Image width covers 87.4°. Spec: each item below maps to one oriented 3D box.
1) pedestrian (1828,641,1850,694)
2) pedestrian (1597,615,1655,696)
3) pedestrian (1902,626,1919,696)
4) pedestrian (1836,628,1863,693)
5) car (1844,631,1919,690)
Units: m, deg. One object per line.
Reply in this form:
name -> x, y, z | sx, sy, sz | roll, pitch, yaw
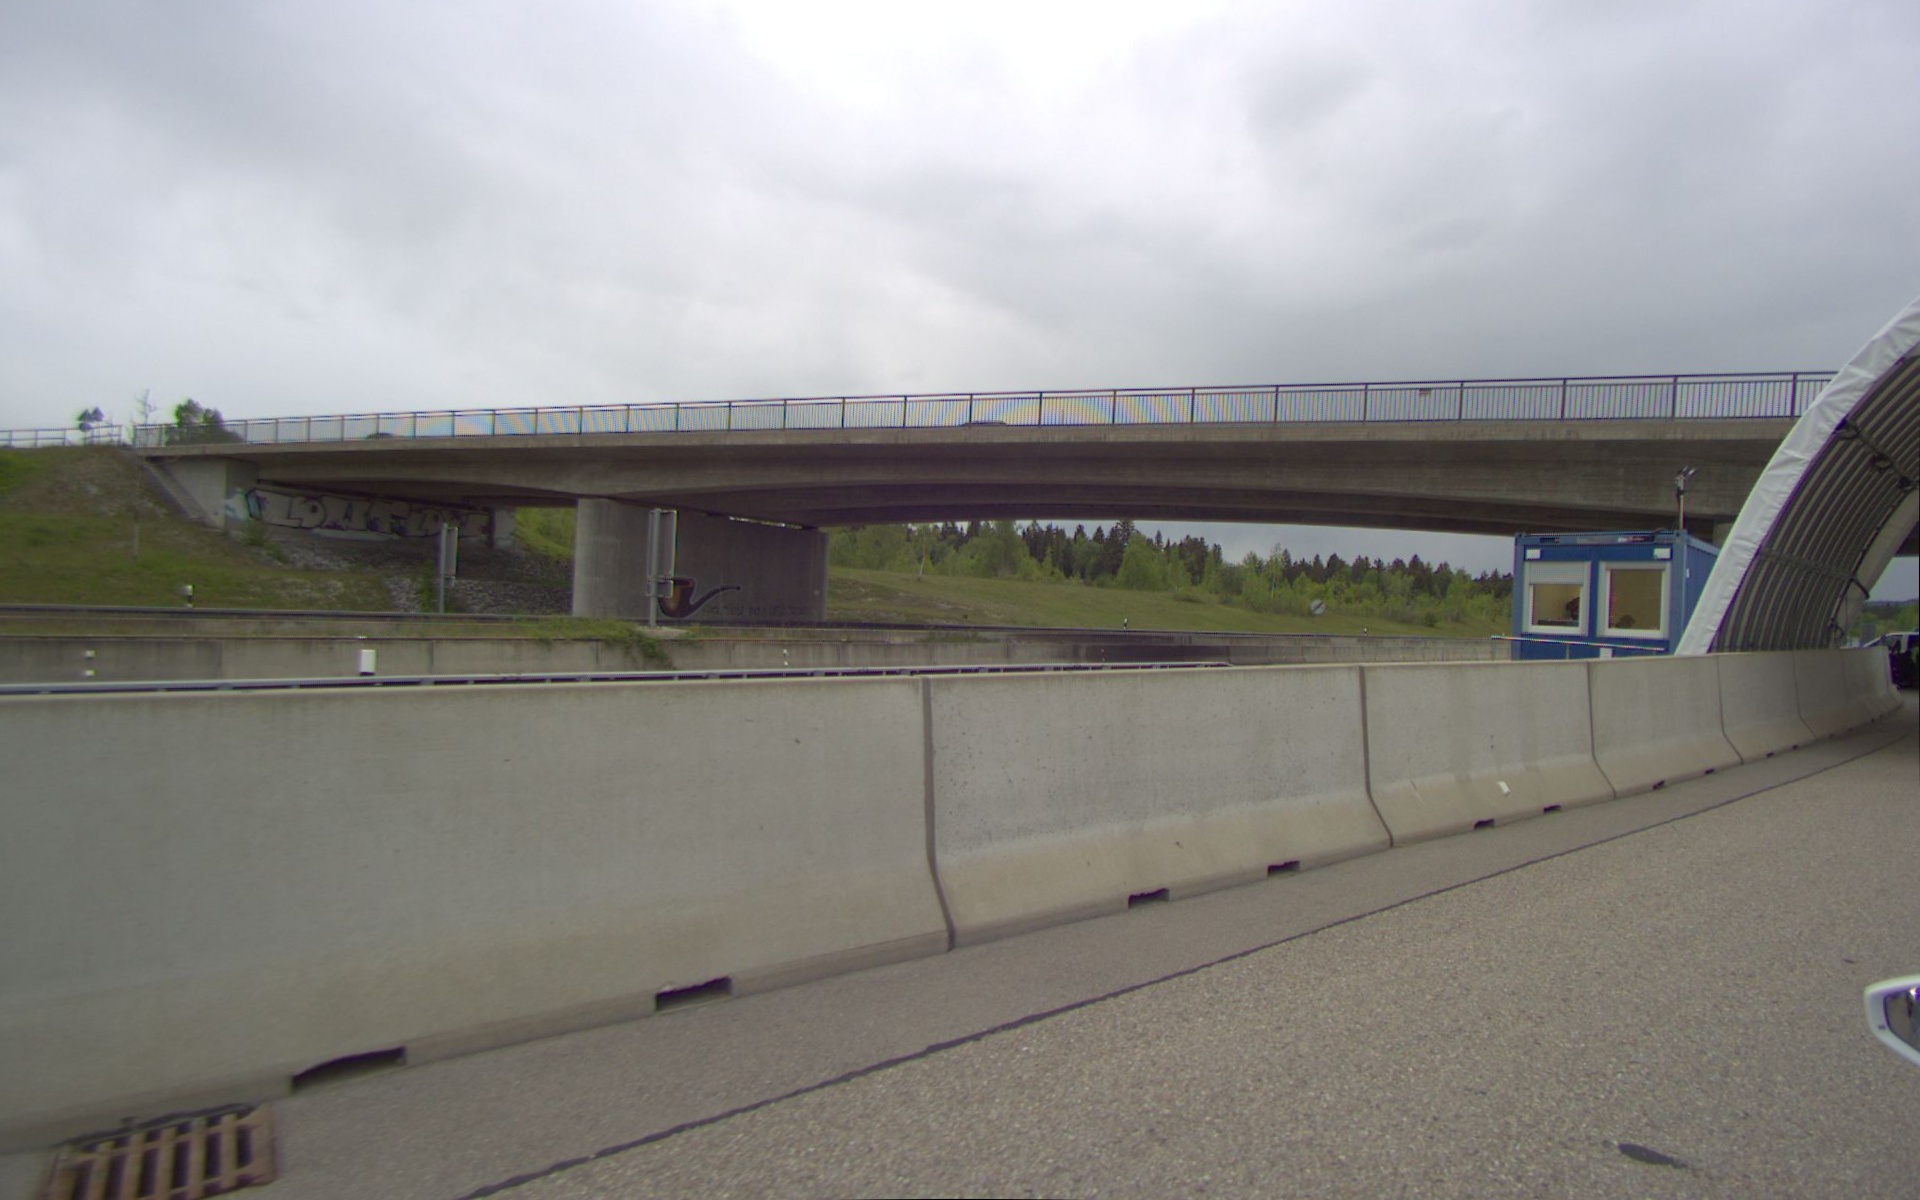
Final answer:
pedestrian -> 26.844, 2.050, 30.681 | 0.496, 1.567, 0.461 | 0, -1, 41
pedestrian -> 11.789, 0.977, 17.780 | 0.618, 1.391, 0.609 | 2, -1, -21
pedestrian -> 28.677, 1.820, 29.935 | 0.684, 2.040, 0.697 | 2, -1, -30
pedestrian -> 28.462, 1.926, 32.138 | 0.618, 2.040, 0.652 | 0, -1, 45
car -> 34.772, 2.185, 35.649 | 1.814, 2.040, 4.797 | 2, -1, -21
